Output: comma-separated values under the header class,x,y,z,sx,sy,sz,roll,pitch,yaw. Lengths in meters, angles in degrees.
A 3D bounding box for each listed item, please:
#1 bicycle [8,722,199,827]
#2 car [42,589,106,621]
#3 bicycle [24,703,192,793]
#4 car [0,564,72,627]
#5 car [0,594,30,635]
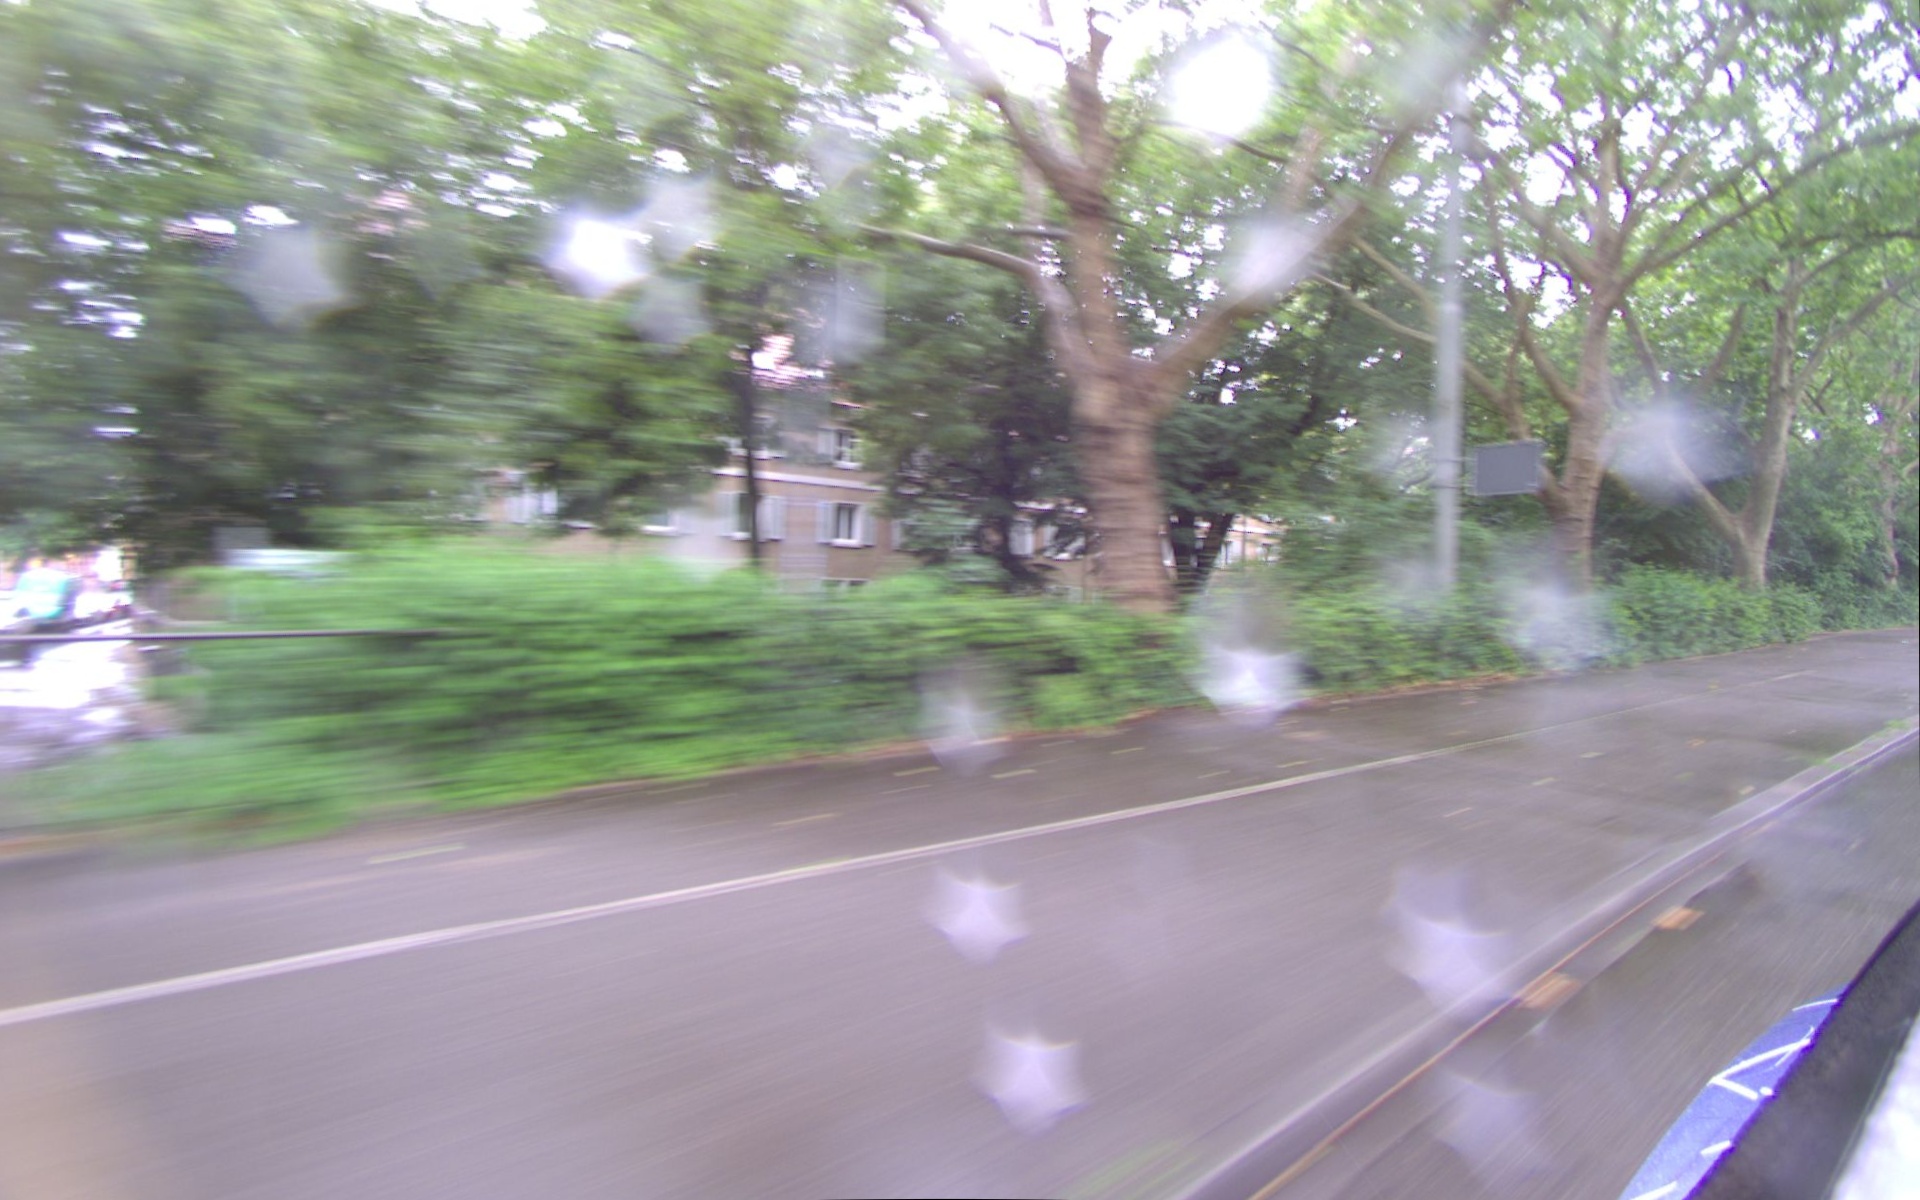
class,x,y,z,sx,sy,sz,roll,pitch,yaw
bicycle,-12.207,2.446,14.484,0.642,1.188,1.998,2,0,42
car,-45.976,0.219,52.586,1.888,1.488,3.912,-1,2,-33
bicycle,-13.850,2.373,16.501,0.642,1.188,1.998,4,1,42
car,-42.042,-0.258,46.017,1.888,2.739,3.912,-1,2,-33
car,-39.429,0.580,40.980,1.888,1.488,3.912,-1,2,-33
